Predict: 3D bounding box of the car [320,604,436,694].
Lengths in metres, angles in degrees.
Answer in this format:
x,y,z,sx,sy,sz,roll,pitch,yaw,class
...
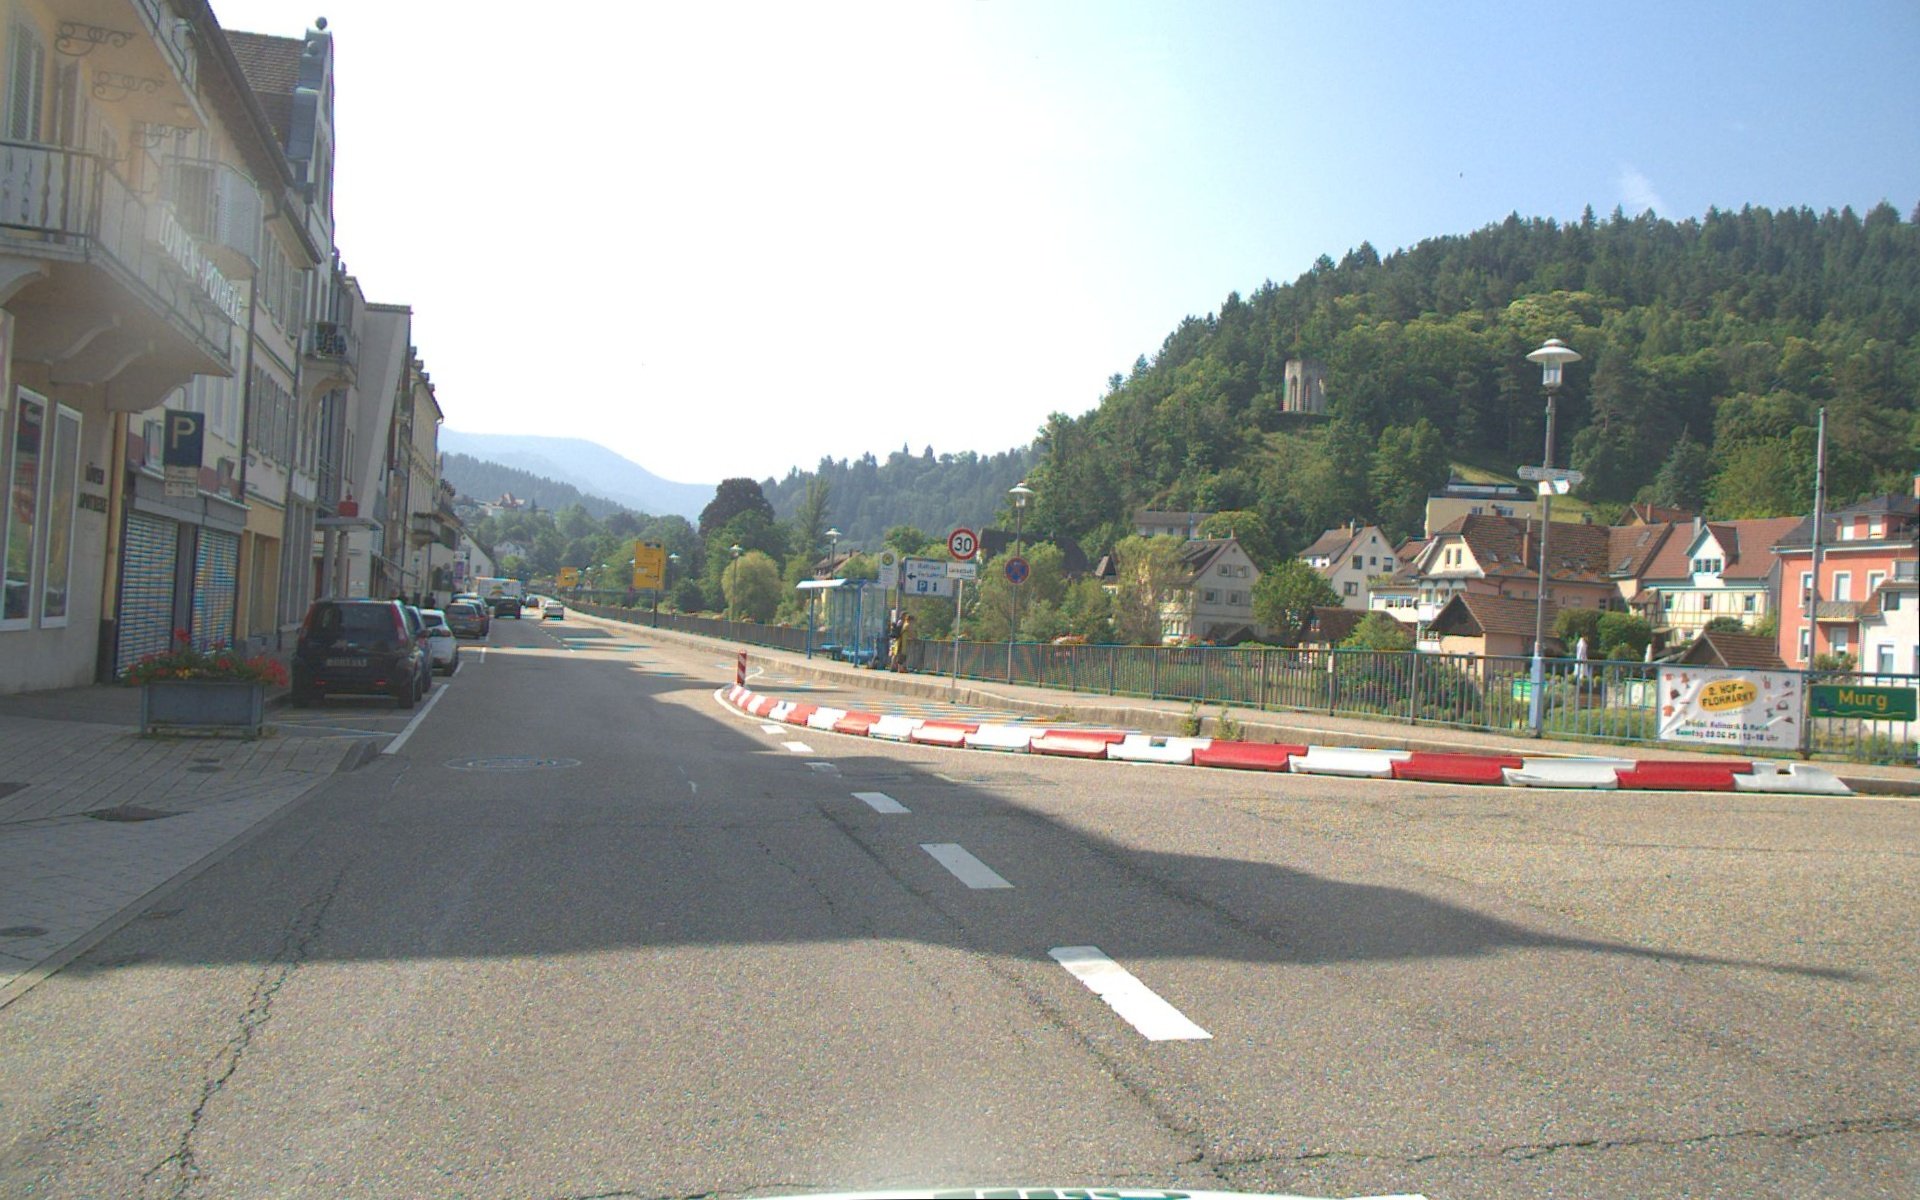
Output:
x,y,z,sx,sy,sz,roll,pitch,yaw,class
-10.351,0.842,29.608,1.719,1.473,3.261,2,-1,-16,car

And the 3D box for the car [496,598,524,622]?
x,y,z,sx,sy,sz,roll,pitch,yaw,class
-35.035,0.735,128.754,1.961,1.691,3.984,4,-1,-15,car

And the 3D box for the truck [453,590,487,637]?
x,y,z,sx,sy,sz,roll,pitch,yaw,class
-27.720,0.736,93.623,1.719,2.511,4.640,2,-1,-16,truck

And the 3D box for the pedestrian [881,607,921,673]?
x,y,z,sx,sy,sz,roll,pitch,yaw,class
-1.606,1.088,44.971,0.852,1.736,0.774,3,-1,-14,pedestrian

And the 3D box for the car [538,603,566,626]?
x,y,z,sx,sy,sz,roll,pitch,yaw,class
-32.845,1.171,133.120,1.961,1.691,3.984,4,-1,-15,car

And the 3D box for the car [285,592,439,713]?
x,y,z,sx,sy,sz,roll,pitch,yaw,class
-8.688,0.731,24.281,1.817,1.596,3.552,2,-1,-16,car

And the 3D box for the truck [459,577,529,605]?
x,y,z,sx,sy,sz,roll,pitch,yaw,class
-61.209,-1.195,217.471,3.015,3.321,9.182,2,-1,31,truck

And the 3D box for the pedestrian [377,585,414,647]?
x,y,z,sx,sy,sz,roll,pitch,yaw,class
-16.096,0.458,47.153,0.674,1.726,0.660,2,-1,12,pedestrian

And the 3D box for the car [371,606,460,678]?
x,y,z,sx,sy,sz,roll,pitch,yaw,class
-12.326,0.921,37.618,1.719,1.473,3.778,2,-1,-16,car

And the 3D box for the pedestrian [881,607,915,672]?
x,y,z,sx,sy,sz,roll,pitch,yaw,class
-1.711,1.090,45.615,0.776,1.736,0.490,3,-1,-14,pedestrian

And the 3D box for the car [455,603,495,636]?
x,y,z,sx,sy,sz,roll,pitch,yaw,class
-22.909,0.910,78.105,1.719,1.473,3.261,2,-1,-16,car

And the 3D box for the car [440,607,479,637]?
x,y,z,sx,sy,sz,roll,pitch,yaw,class
-21.707,0.945,71.794,1.538,1.241,3.261,2,-1,-16,car
